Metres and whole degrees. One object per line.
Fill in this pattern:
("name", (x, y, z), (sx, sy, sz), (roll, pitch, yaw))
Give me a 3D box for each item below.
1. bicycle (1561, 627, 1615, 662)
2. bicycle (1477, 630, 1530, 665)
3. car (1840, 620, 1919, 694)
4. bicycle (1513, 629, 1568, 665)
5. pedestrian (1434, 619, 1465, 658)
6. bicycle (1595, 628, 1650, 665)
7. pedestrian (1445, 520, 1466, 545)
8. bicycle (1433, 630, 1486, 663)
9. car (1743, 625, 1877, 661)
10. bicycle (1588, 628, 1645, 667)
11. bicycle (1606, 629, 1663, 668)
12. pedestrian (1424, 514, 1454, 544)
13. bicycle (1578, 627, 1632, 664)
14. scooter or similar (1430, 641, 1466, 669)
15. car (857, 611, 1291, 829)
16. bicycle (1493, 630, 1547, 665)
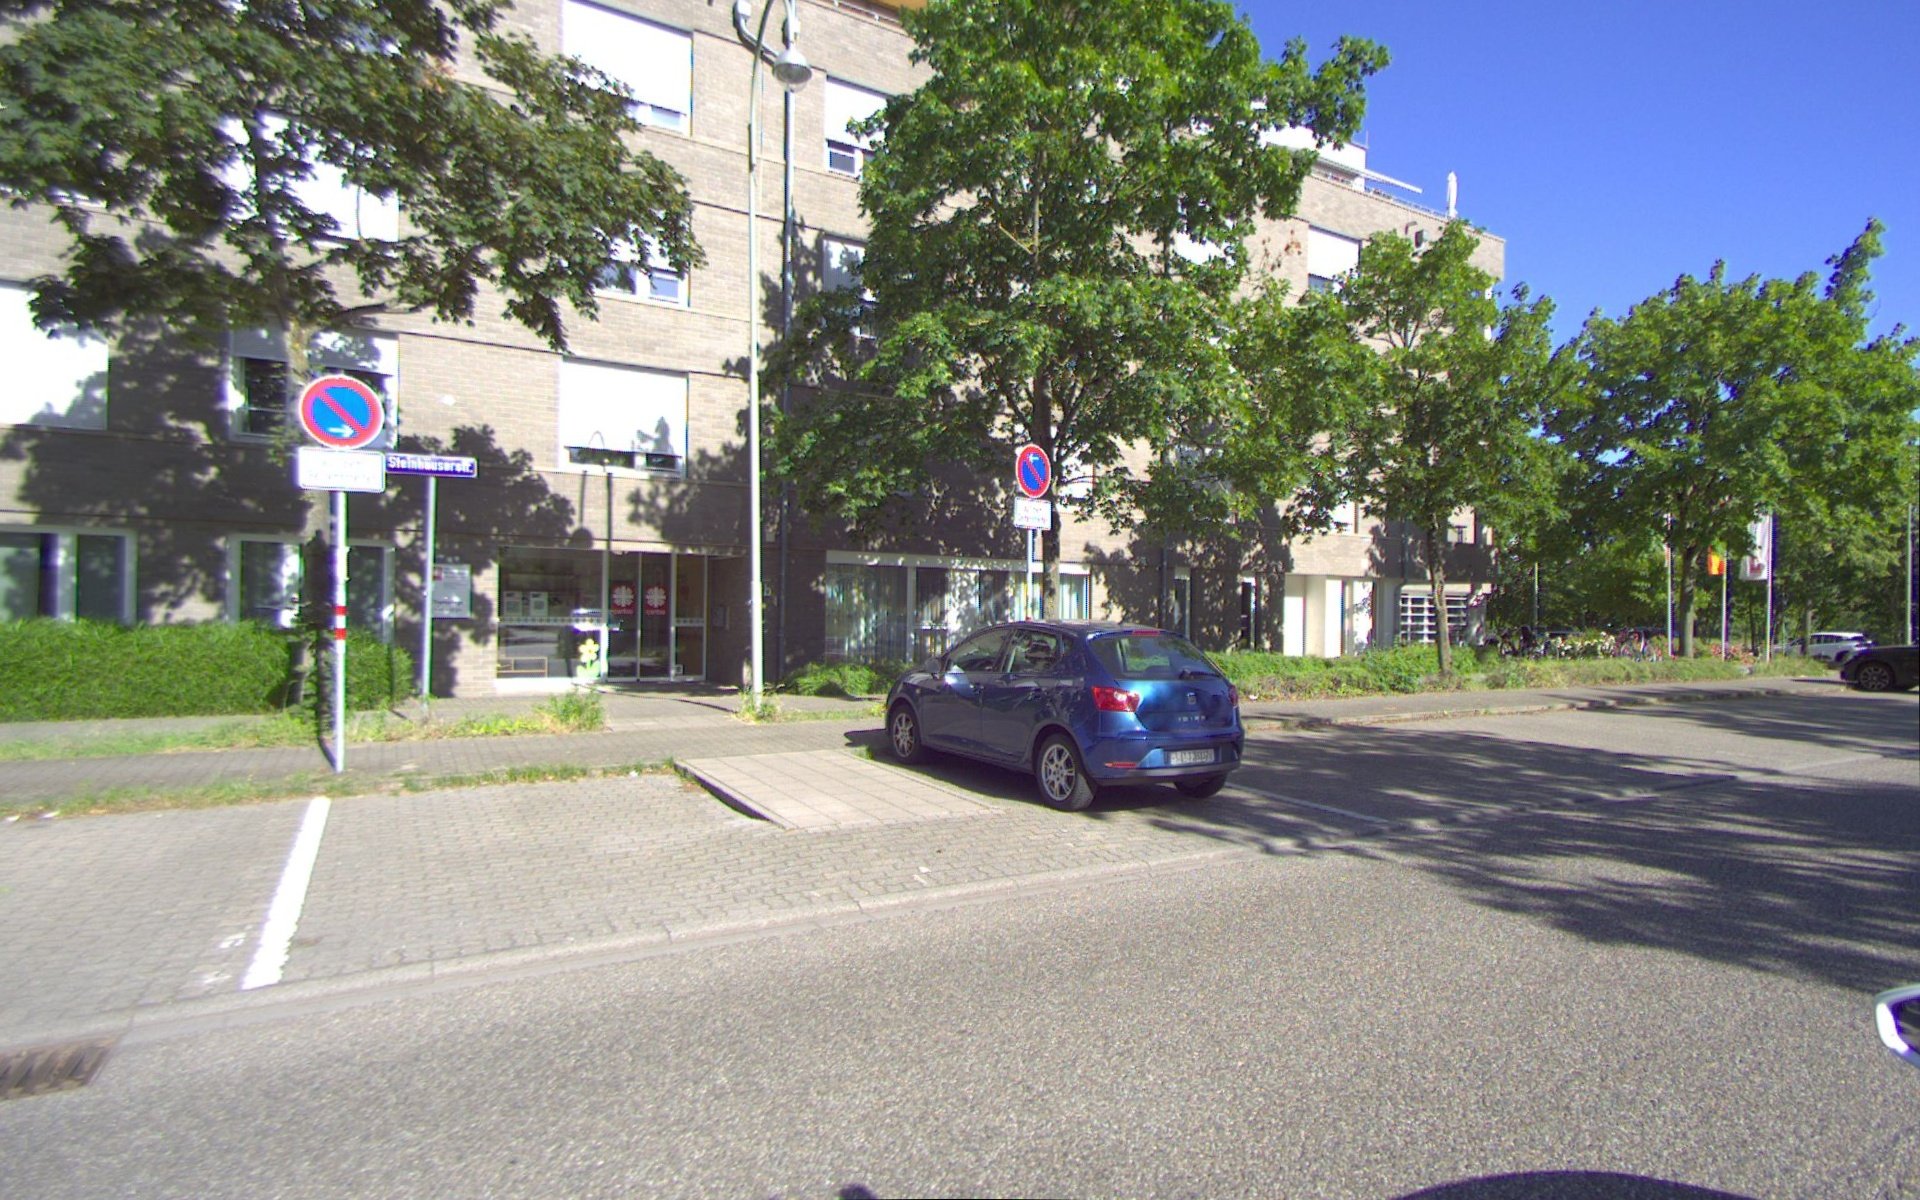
("bicycle", (19.416, 1.369, 31.030), (2.167, 1.061, 0.435), (1, 0, -30))
("bicycle", (17.345, 1.508, 32.044), (2.167, 1.061, 0.435), (1, 0, -30))
("car", (21.768, 1.267, 21.432), (1.750, 1.540, 4.174), (1, 0, -29))
("bicycle", (17.773, 1.438, 30.727), (2.167, 1.061, 0.435), (1, 0, -30))
("pedestrian", (17.273, 1.365, 35.473), (0.662, 1.352, 0.739), (1, -1, -29))
("bicycle", (19.886, 1.396, 30.137), (2.167, 1.061, 0.435), (1, 0, -30))
("pedestrian", (14.558, -1.973, 29.525), (0.424, 0.695, 0.412), (1, 0, -39))
("bicycle", (16.561, 1.550, 33.292), (2.167, 1.061, 0.435), (1, 0, -30))
("car", (36.344, 1.837, 43.056), (1.605, 1.470, 4.061), (1, -3, -28))
("bicycle", (18.880, 1.357, 28.866), (2.167, 1.061, 0.435), (1, 0, -30))
("bicycle", (19.121, 1.359, 28.451), (2.167, 1.061, 0.435), (1, 0, -30))
("pedestrian", (13.876, -2.056, 29.095), (0.360, 0.809, 0.676), (1, 0, -37))
("bicycle", (19.642, 1.382, 30.593), (2.167, 1.061, 0.435), (1, 0, -30))
("scooter or similar", (17.224, 1.930, 35.478), (0.857, 0.967, 0.800), (1, -2, -27))
("car", (0.781, 0.868, 9.095), (1.798, 1.430, 3.963), (1, 0, -33))
("bicycle", (17.605, 1.501, 31.578), (2.167, 1.061, 0.435), (1, 0, -30))
